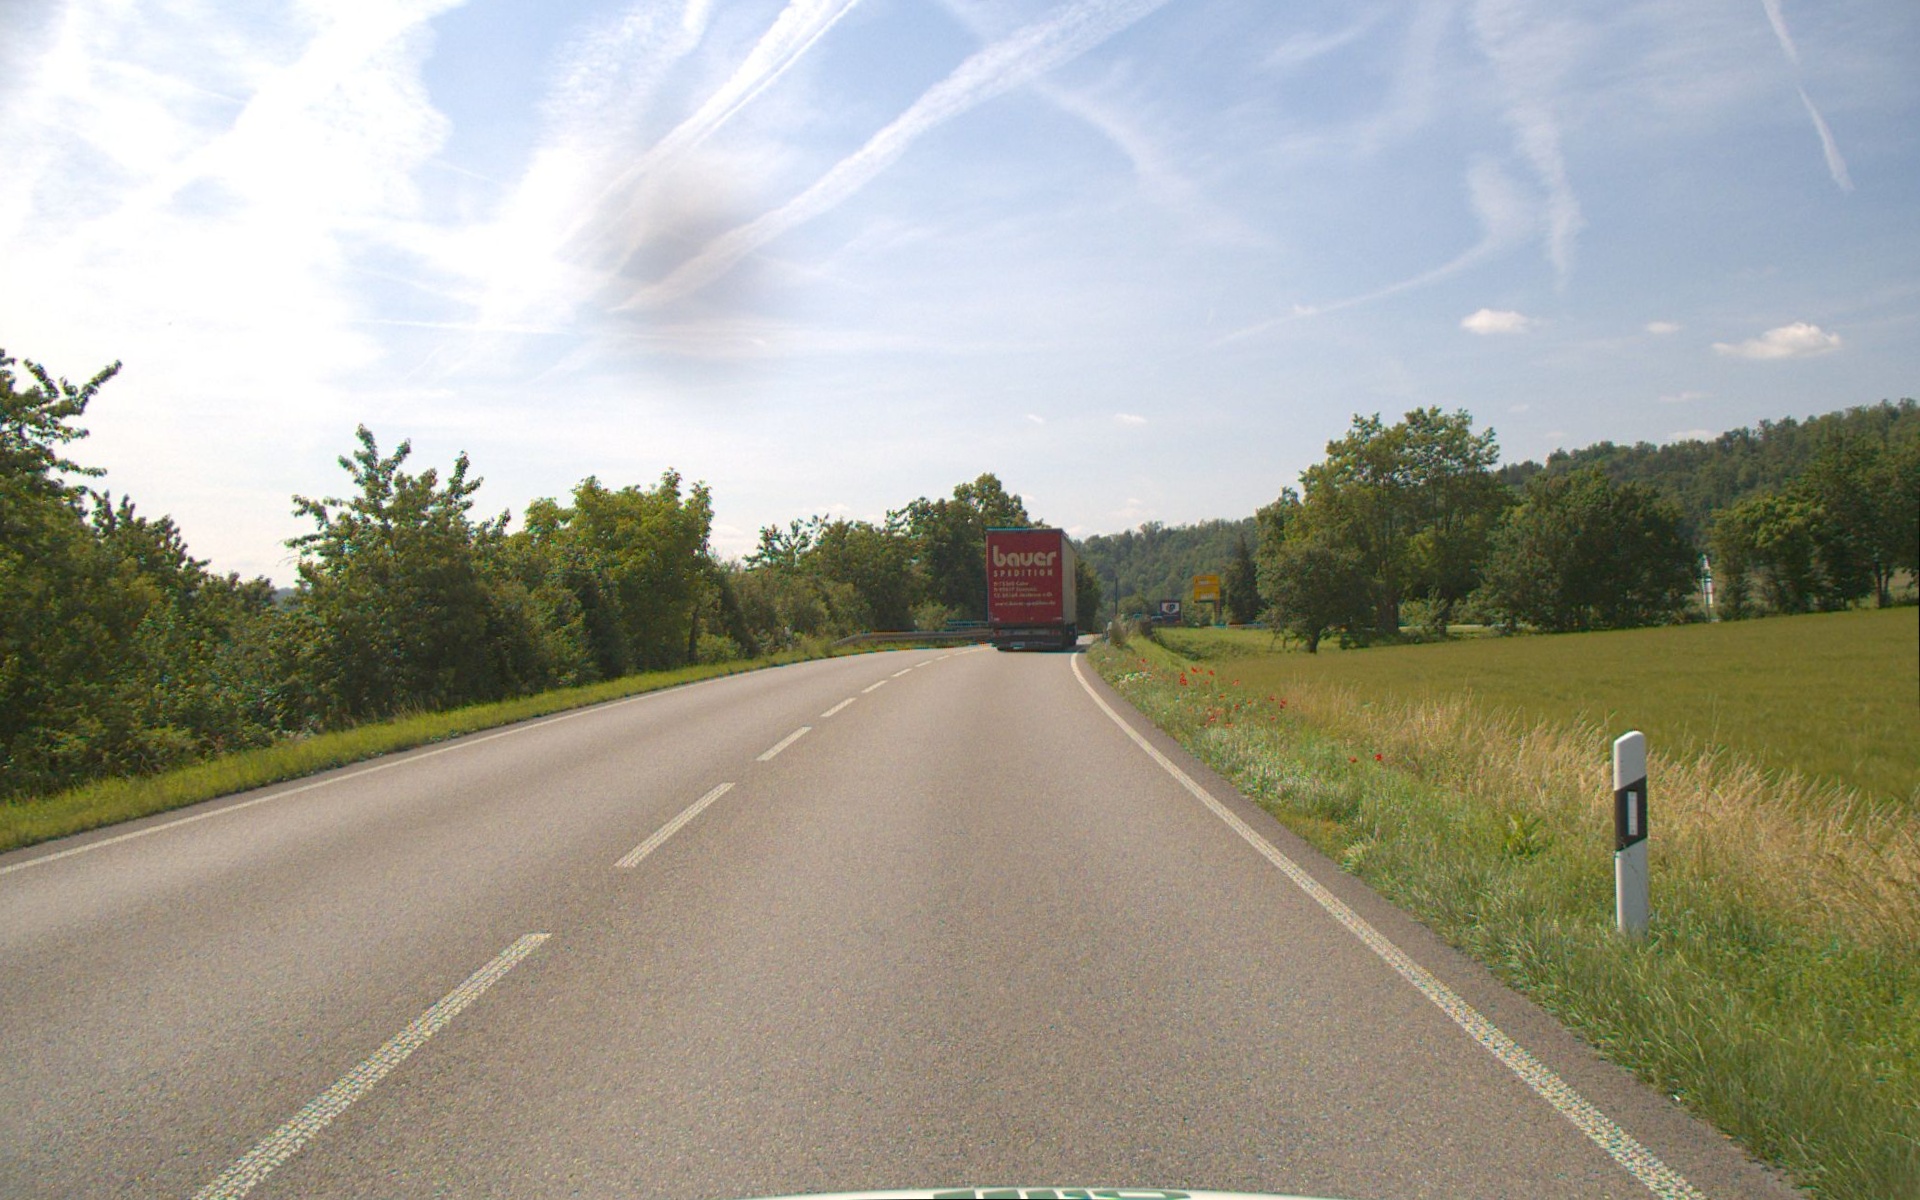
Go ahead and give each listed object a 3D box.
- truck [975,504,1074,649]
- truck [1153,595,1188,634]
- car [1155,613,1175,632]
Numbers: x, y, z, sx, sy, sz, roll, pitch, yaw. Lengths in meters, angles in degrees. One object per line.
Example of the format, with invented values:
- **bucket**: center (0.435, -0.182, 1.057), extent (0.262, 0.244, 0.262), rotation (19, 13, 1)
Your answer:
- **truck**: center (2.557, -0.753, 60.483), extent (3.105, 4.706, 13.550), rotation (0, 0, 4)
- **truck**: center (26.023, 1.885, 203.873), extent (3.821, 4.447, 13.301), rotation (0, -2, 9)
- **car**: center (21.641, 2.355, 174.729), extent (1.951, 1.842, 4.002), rotation (1, -2, 9)
